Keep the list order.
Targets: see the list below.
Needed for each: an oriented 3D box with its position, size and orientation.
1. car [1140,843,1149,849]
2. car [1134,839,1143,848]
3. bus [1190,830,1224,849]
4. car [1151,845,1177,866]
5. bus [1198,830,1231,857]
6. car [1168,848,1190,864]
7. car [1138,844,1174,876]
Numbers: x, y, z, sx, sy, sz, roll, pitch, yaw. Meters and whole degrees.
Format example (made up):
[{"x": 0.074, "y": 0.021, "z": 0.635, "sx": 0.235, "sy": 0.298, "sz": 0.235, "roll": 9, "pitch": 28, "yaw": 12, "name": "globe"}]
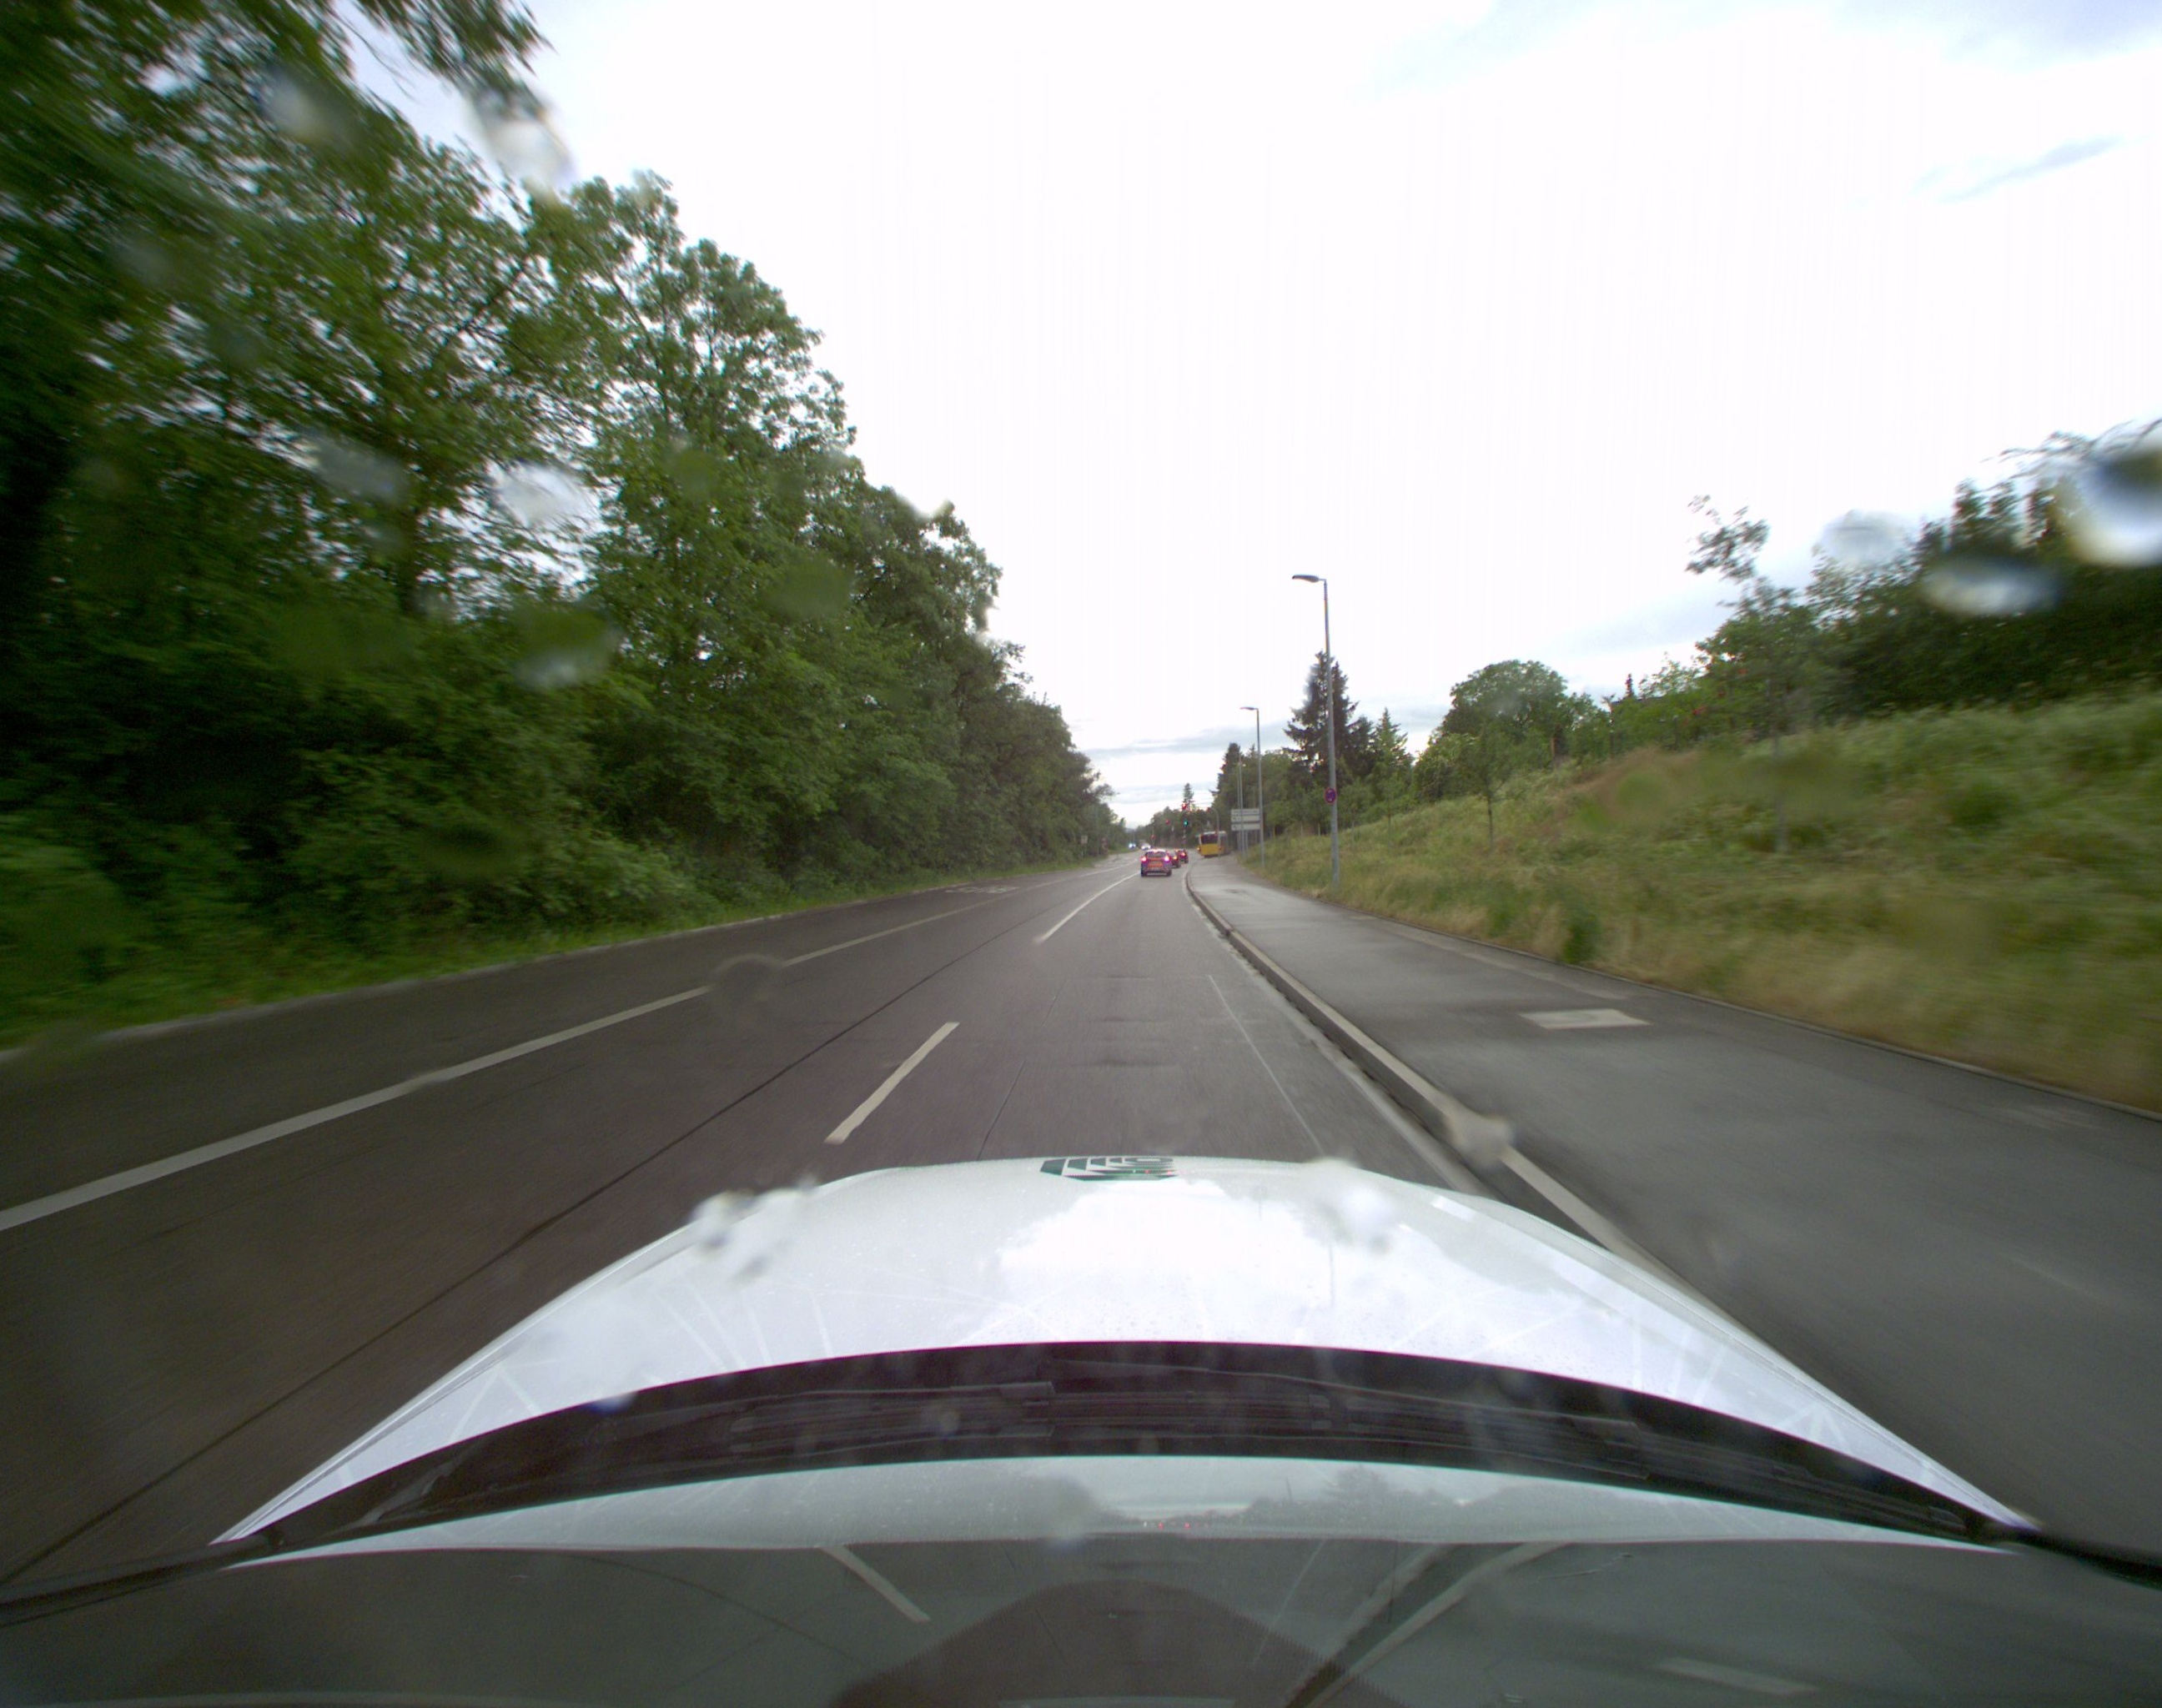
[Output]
[{"x": 15.836, "y": -1.956, "z": 202.355, "sx": 1.986, "sy": 1.420, "sz": 4.001, "roll": -1, "pitch": 0, "yaw": 2, "name": "car"}, {"x": 16.210, "y": -2.915, "z": 229.567, "sx": 2.261, "sy": 2.335, "sz": 5.591, "roll": -1, "pitch": 0, "yaw": 2, "name": "car"}, {"x": 20.052, "y": -2.276, "z": 130.067, "sx": 2.812, "sy": 2.806, "sz": 10.620, "roll": -1, "pitch": 0, "yaw": -5, "name": "bus"}, {"x": 6.713, "y": 0.100, "z": 65.843, "sx": 1.917, "sy": 1.486, "sz": 3.806, "roll": -3, "pitch": 1, "yaw": 6, "name": "car"}, {"x": 16.730, "y": -1.262, "z": 101.389, "sx": 2.795, "sy": 3.142, "sz": 9.221, "roll": -1, "pitch": 0, "yaw": 17, "name": "bus"}, {"x": 9.640, "y": 0.176, "z": 80.271, "sx": 1.983, "sy": 1.552, "sz": 4.007, "roll": -1, "pitch": 0, "yaw": 6, "name": "car"}, {"x": 4.476, "y": 0.339, "z": 48.487, "sx": 1.984, "sy": 1.689, "sz": 4.007, "roll": -3, "pitch": 1, "yaw": 5, "name": "car"}]
